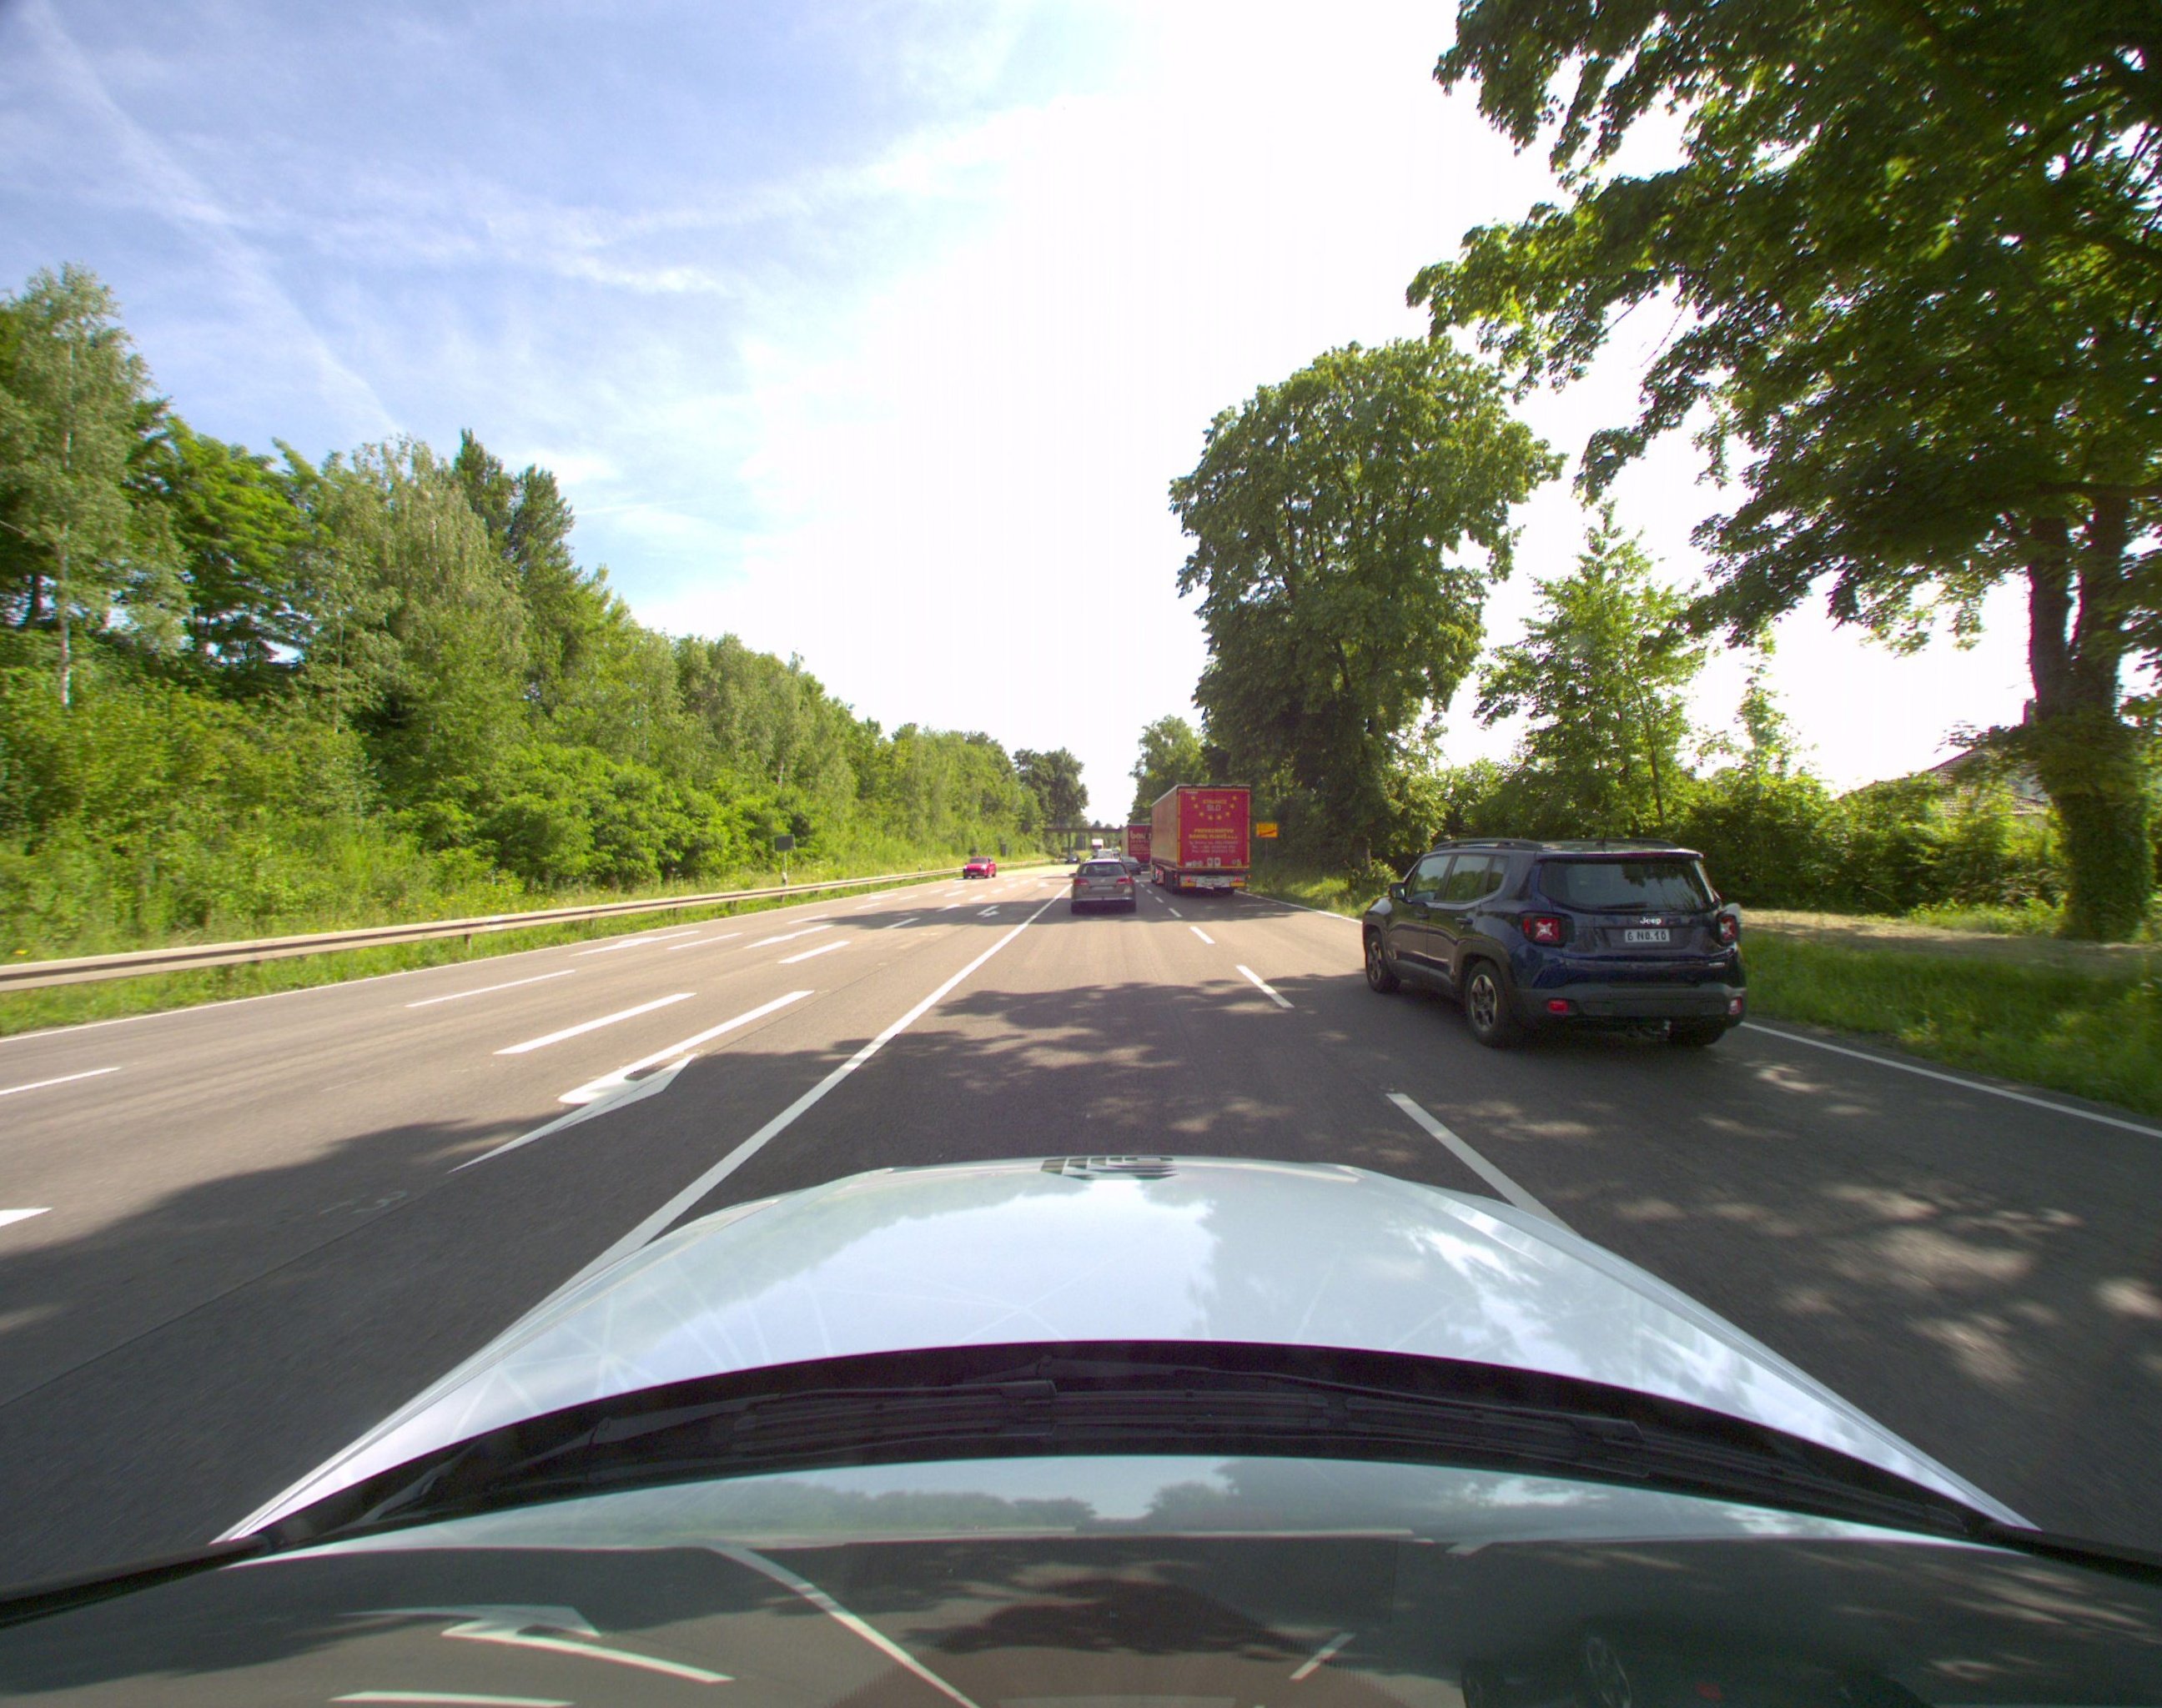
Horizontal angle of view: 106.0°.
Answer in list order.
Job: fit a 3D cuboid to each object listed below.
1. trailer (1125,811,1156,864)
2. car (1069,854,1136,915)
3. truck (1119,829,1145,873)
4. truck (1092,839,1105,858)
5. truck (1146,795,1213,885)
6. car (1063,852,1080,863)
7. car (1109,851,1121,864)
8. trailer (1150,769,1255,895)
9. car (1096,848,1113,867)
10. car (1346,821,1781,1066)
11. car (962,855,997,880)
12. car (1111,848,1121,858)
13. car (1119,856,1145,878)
[{"bbox_3d":[5.321,-1.306,74.031,2.385,4.243,13.089,-2,-1,4],"label":"trailer"},{"bbox_3d":[0.608,0.819,23.129,1.685,1.513,4.001,-2,-1,1],"label":"car"},{"bbox_3d":[5.020,-0.245,80.144,2.396,4.128,5.526,-2,-1,3],"label":"truck"},{"bbox_3d":[3.819,-1.231,180.474,2.764,3.931,9.467,-2,-1,1],"label":"truck"},{"bbox_3d":[4.901,-0.641,41.581,2.860,4.281,5.840,0,-1,1],"label":"truck"},{"bbox_3d":[-1.348,0.479,115.699,1.953,1.415,4.006,-2,-1,6],"label":"car"},{"bbox_3d":[5.579,0.553,134.076,1.986,2.014,4.001,-2,-1,1],"label":"car"},{"bbox_3d":[4.752,-0.701,34.821,2.829,4.365,13.170,0,-1,1],"label":"trailer"},{"bbox_3d":[2.645,0.403,90.514,1.764,1.936,3.978,-2,-1,1],"label":"car"},{"bbox_3d":[4.047,0.646,7.738,1.764,1.654,4.000,-2,-1,1],"label":"car"},{"bbox_3d":[-7.906,1.053,63.726,1.965,1.796,4.810,-2,-1,2],"label":"car"},{"bbox_3d":[7.456,-0.237,175.426,1.986,2.014,4.001,-2,-1,1],"label":"car"},{"bbox_3d":[3.733,0.921,60.355,1.764,1.513,4.001,-2,-1,1],"label":"car"}]
